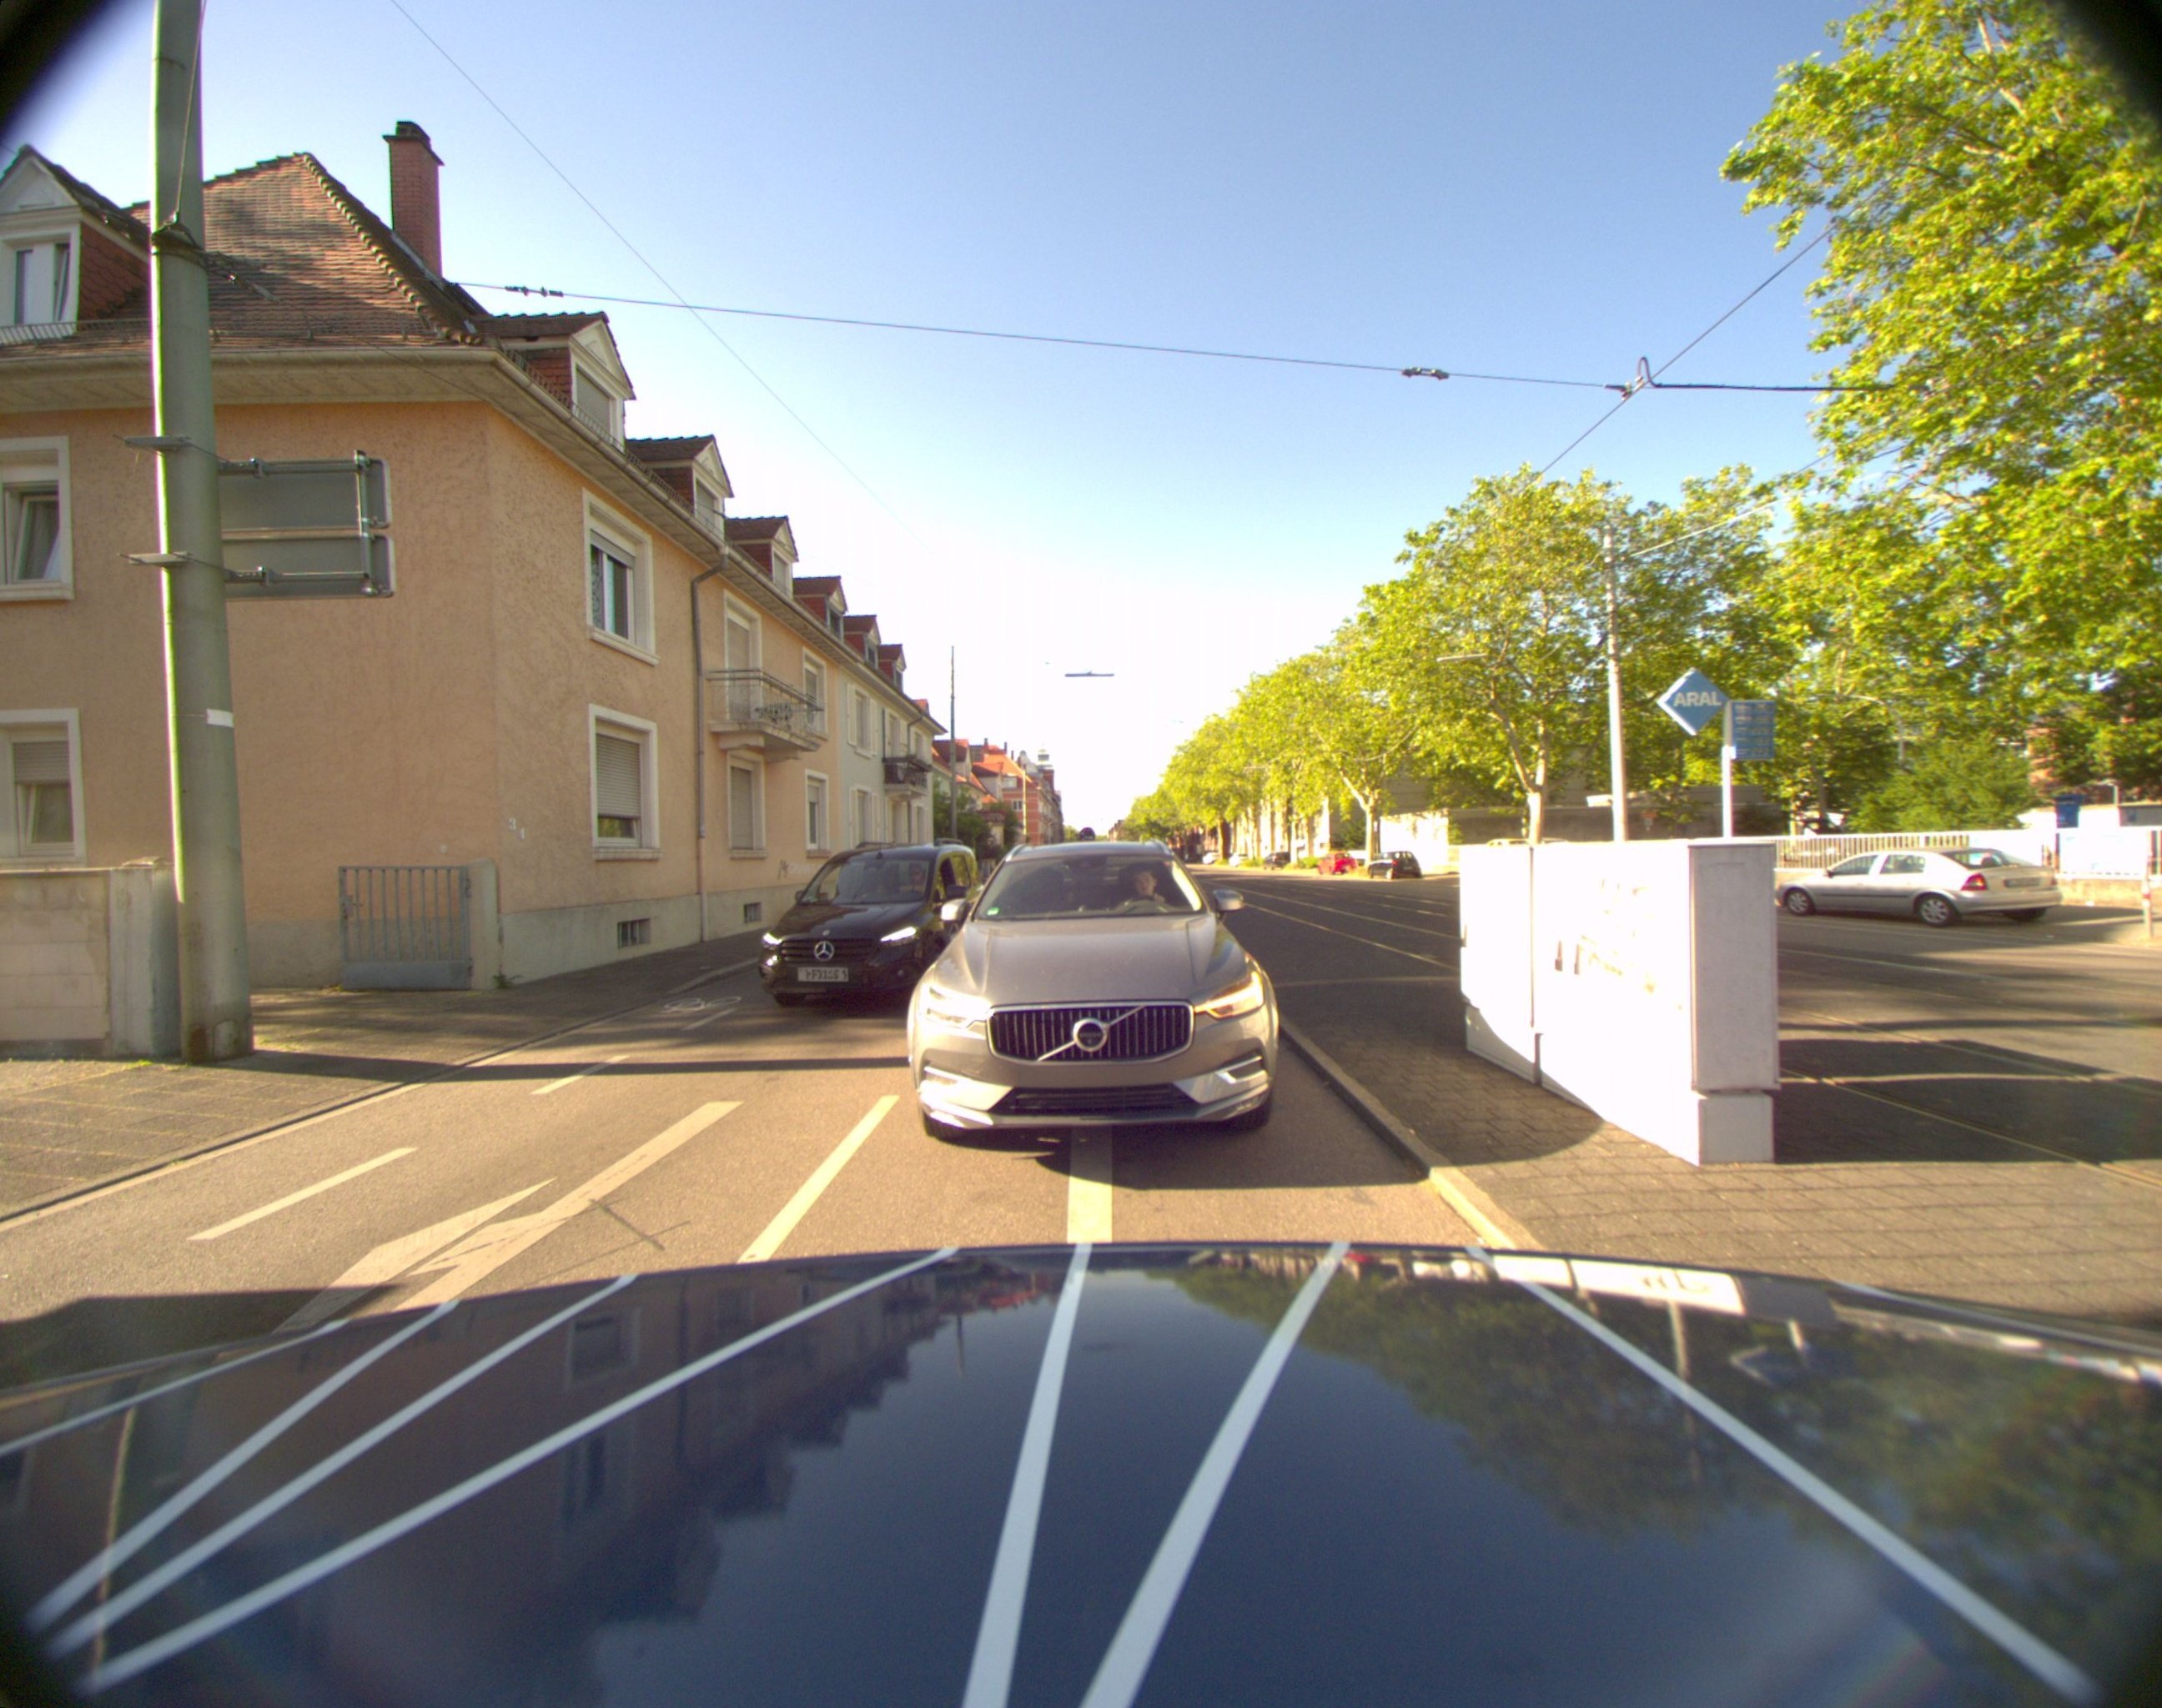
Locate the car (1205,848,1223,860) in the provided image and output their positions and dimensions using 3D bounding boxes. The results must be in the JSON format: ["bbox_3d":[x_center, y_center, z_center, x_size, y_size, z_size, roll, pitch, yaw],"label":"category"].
[{"bbox_3d":[17.654,0.007,100.776,1.700,1.548,3.999,-1,1,1],"label":"car"}]

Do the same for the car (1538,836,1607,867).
[{"bbox_3d":[24.270,-0.132,37.635,1.545,1.412,3.151,-2,1,4],"label":"car"}]

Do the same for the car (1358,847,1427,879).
[{"bbox_3d":[16.822,0.438,41.227,1.753,1.514,4.434,-5,1,-1],"label":"car"}]

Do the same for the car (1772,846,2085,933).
[{"bbox_3d":[16.280,0.582,14.967,1.731,1.412,3.999,-2,1,1],"label":"car"}]

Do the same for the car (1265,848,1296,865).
[{"bbox_3d":[17.279,0.223,65.906,1.700,1.401,3.999,-1,1,1],"label":"car"}]

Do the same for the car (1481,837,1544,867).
[{"bbox_3d":[21.717,-0.120,38.348,1.545,1.412,3.151,-2,1,4],"label":"car"}]

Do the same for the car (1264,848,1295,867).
[{"bbox_3d":[17.162,0.316,65.987,1.700,1.566,3.999,-1,1,1],"label":"car"}]

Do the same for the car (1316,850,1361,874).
[{"bbox_3d":[17.000,0.472,50.360,1.700,1.460,3.999,-1,1,1],"label":"car"}]

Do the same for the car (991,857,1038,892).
[{"bbox_3d":[-3.172,0.958,36.876,1.841,1.449,3.999,-2,1,1],"label":"car"}]

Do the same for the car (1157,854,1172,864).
[{"bbox_3d":[13.068,0.765,118.991,1.912,1.514,4.763,0,1,0],"label":"car"}]

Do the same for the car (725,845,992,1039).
[{"bbox_3d":[-2.421,0.824,9.704,1.866,1.794,4.778,-2,1,1],"label":"car"}]

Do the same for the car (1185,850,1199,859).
[{"bbox_3d":[18.321,0.023,125.553,1.700,1.401,3.999,-1,1,1],"label":"car"}]

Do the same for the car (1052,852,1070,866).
[{"bbox_3d":[-2.190,0.588,85.427,1.841,1.449,3.999,-2,1,1],"label":"car"}]

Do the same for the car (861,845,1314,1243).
[{"bbox_3d":[0.036,0.805,5.693,1.912,1.666,4.763,-2,1,0],"label":"car"}]

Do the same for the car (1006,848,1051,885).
[{"bbox_3d":[-2.896,0.633,43.836,1.937,1.888,7.210,-2,1,1],"label":"car"}]

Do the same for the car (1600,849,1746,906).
[{"bbox_3d":[16.405,0.598,21.258,1.546,1.412,3.254,-2,1,1],"label":"car"}]

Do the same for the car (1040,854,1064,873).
[{"bbox_3d":[-2.537,0.806,66.989,1.841,1.449,3.999,-2,1,1],"label":"car"}]

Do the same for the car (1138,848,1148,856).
[{"bbox_3d":[14.266,-0.547,176.229,1.850,1.835,4.394,-1,1,-1],"label":"car"}]

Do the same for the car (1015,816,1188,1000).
[{"bbox_3d":[0.237,0.594,11.113,1.912,2.048,4.763,-2,1,0],"label":"car"}]

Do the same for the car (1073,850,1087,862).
[{"bbox_3d":[-0.169,0.276,106.479,1.841,1.449,3.999,-2,1,1],"label":"car"}]

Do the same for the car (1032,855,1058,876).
[{"bbox_3d":[-2.832,0.889,60.580,1.841,1.449,3.999,-2,1,1],"label":"car"}]

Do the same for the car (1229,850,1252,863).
[{"bbox_3d":[17.509,0.247,83.514,1.700,1.401,3.999,-1,1,1],"label":"car"}]

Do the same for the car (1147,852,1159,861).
[{"bbox_3d":[13.635,0.462,143.248,1.700,1.412,3.999,11,1,1],"label":"car"}]
